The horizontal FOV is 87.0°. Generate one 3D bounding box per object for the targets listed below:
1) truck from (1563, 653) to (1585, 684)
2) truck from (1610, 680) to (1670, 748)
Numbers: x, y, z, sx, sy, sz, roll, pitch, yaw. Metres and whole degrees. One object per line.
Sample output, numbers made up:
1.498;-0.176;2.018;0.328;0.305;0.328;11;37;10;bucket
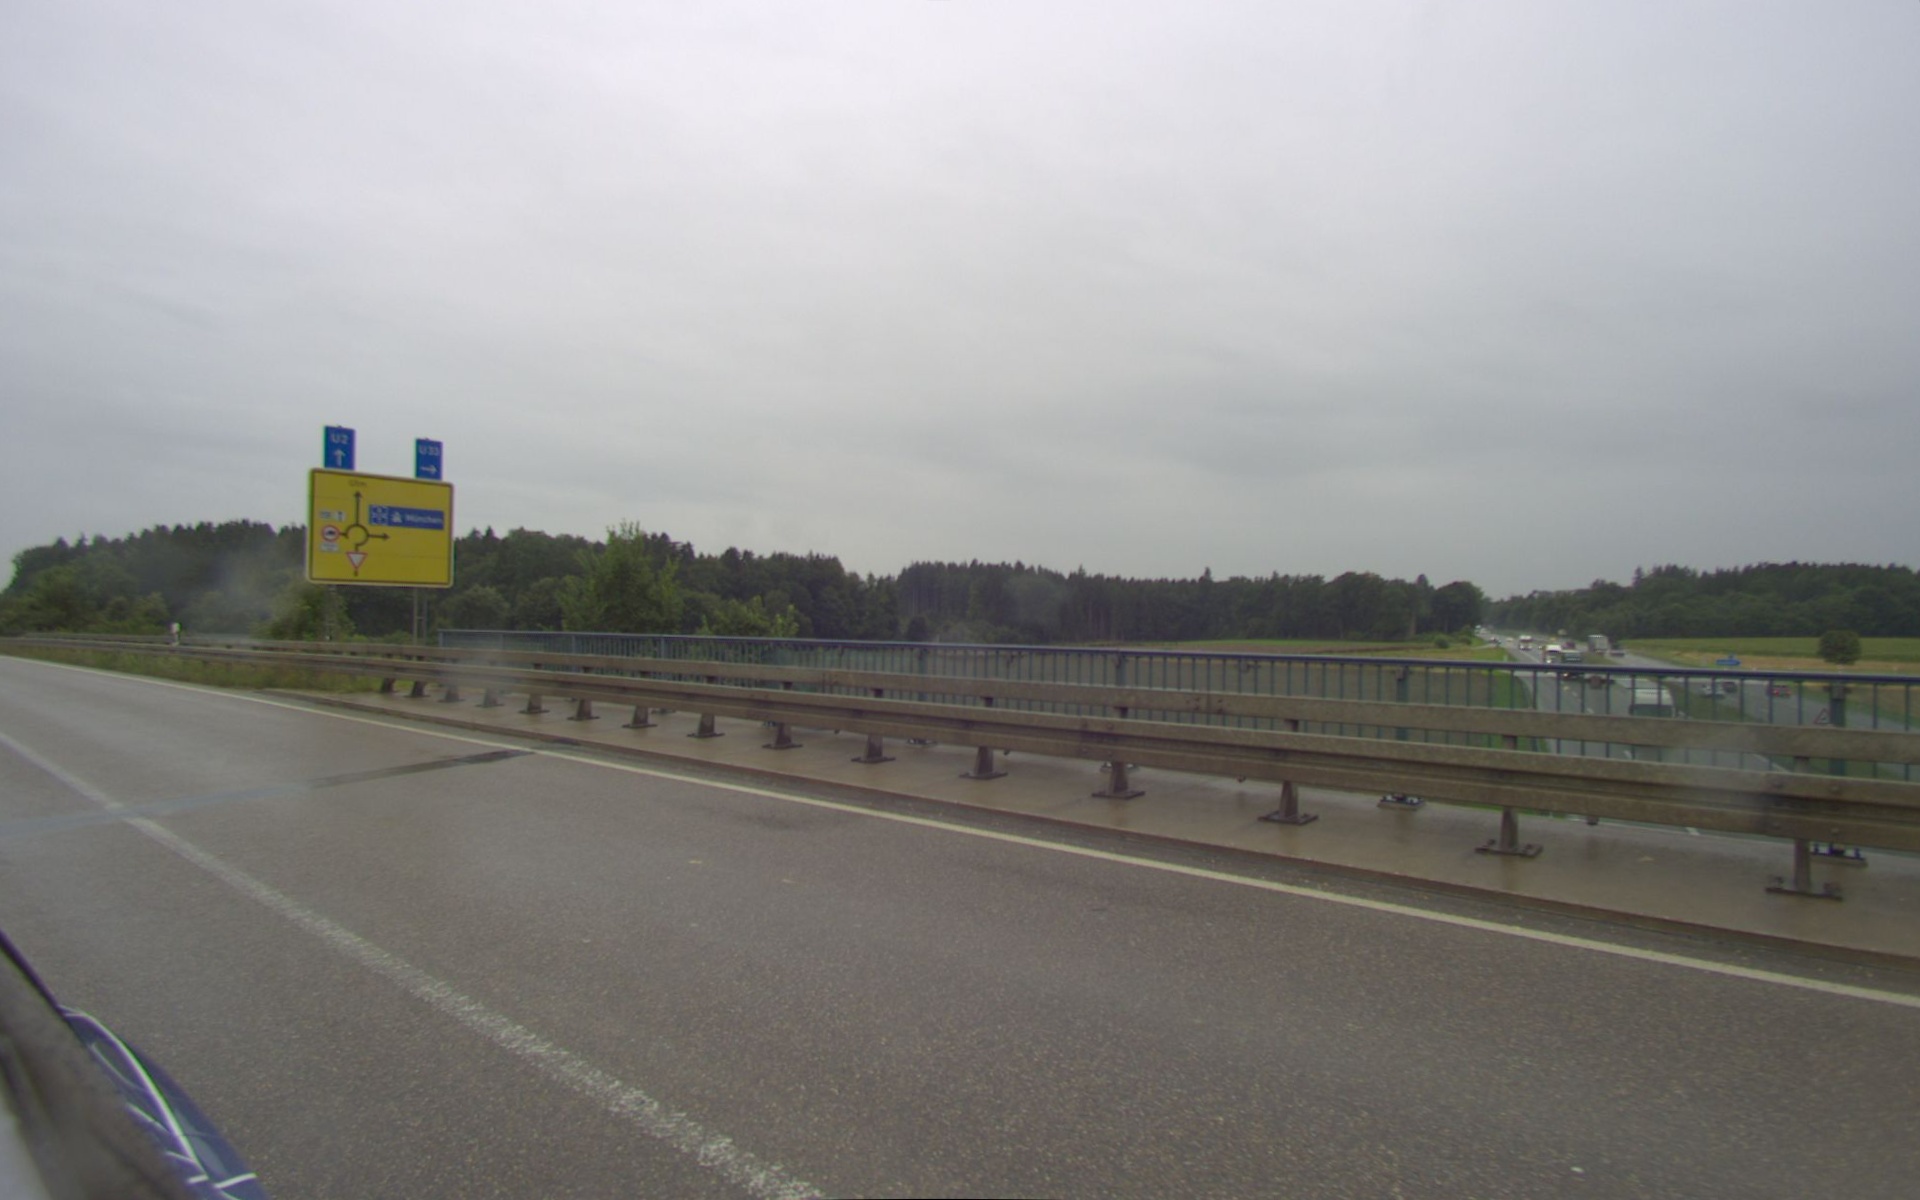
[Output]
90.286;9.995;148.712;2.234;3.727;9.741;-2;1;33;truck
50.859;8.367;75.905;2.774;3.899;10.538;1;0;29;truck
